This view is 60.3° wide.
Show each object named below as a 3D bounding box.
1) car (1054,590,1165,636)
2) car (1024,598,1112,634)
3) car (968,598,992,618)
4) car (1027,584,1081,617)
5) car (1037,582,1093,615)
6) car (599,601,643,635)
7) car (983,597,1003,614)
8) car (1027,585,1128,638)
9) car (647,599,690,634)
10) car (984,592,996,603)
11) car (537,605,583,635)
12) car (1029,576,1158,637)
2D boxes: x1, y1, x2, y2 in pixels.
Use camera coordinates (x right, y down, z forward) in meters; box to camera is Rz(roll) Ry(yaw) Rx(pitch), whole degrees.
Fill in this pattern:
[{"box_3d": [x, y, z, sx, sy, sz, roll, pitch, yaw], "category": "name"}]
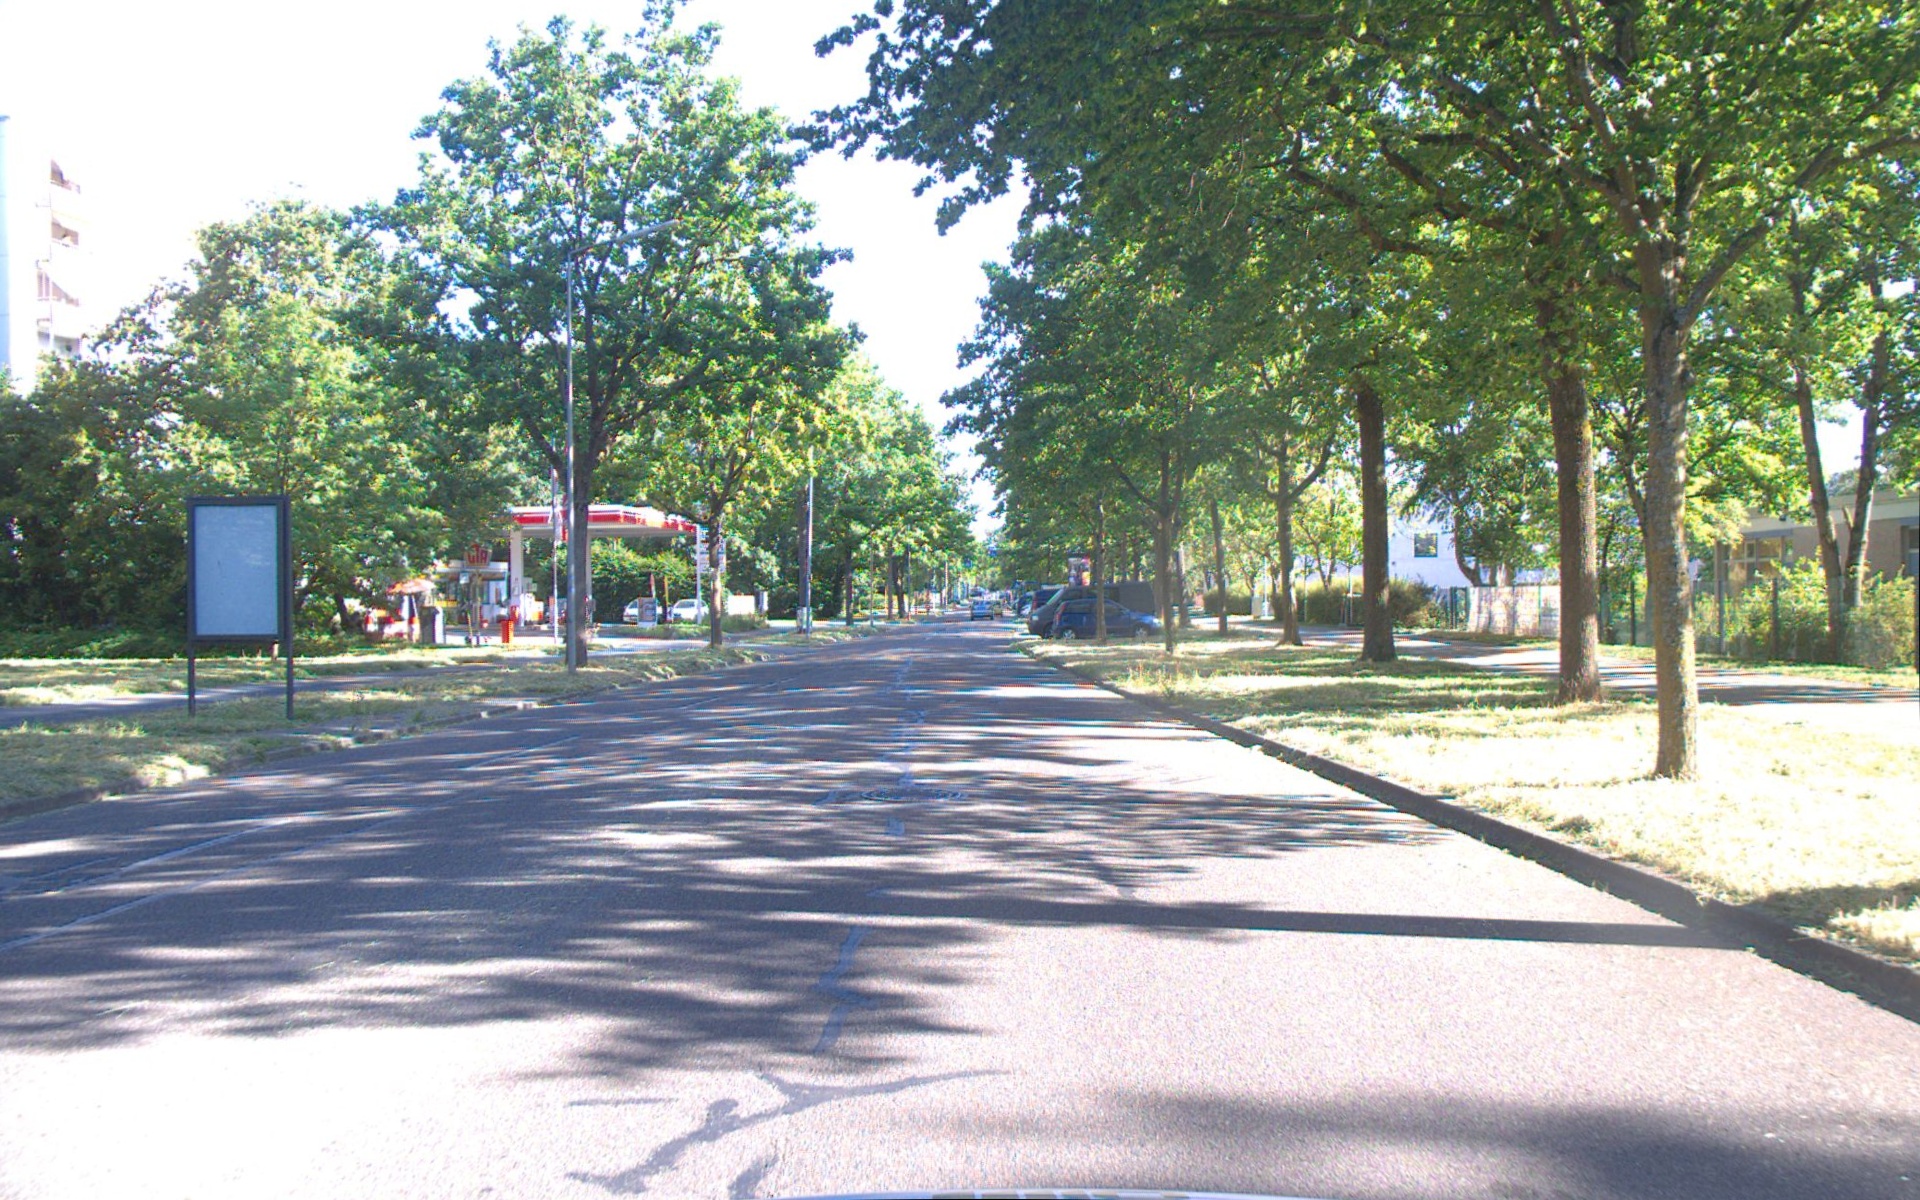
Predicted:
[{"box_3d": [4.966, 0.434, 55.370, 3.578, 1.422, 1.317, -1, -1, 0], "category": "car"}, {"box_3d": [4.488, 0.672, 68.872, 3.578, 1.353, 1.317, -1, -1, 0], "category": "car"}, {"box_3d": [1.435, 0.613, 119.899, 1.627, 1.360, 3.664, -1, -1, 0], "category": "car"}, {"box_3d": [6.240, 0.019, 110.245, 3.494, 2.087, 1.575, -1, -1, 0], "category": "car"}, {"box_3d": [6.846, -0.090, 108.105, 3.494, 2.087, 1.633, -1, -1, 0], "category": "car"}, {"box_3d": [-19.193, 1.020, 93.750, 1.764, 1.855, 3.804, -1, -1, -1], "category": "car"}, {"box_3d": [2.828, 0.472, 141.006, 1.627, 1.360, 3.664, -1, -1, 0], "category": "car"}, {"box_3d": [4.300, 0.433, 60.846, 3.578, 1.829, 1.317, -1, -1, 0], "category": "car"}, {"box_3d": [-16.474, 0.947, 93.652, 1.764, 1.855, 3.804, -1, -1, -1], "category": "car"}, {"box_3d": [4.328, -0.330, 237.308, 1.627, 1.360, 3.664, -1, -1, 0], "category": "car"}, {"box_3d": [-23.263, 1.180, 96.316, 1.764, 1.649, 3.804, -1, -1, 0], "category": "car"}, {"box_3d": [4.670, 0.242, 58.355, 4.410, 1.987, 1.687, -1, -1, 0], "category": "car"}]
